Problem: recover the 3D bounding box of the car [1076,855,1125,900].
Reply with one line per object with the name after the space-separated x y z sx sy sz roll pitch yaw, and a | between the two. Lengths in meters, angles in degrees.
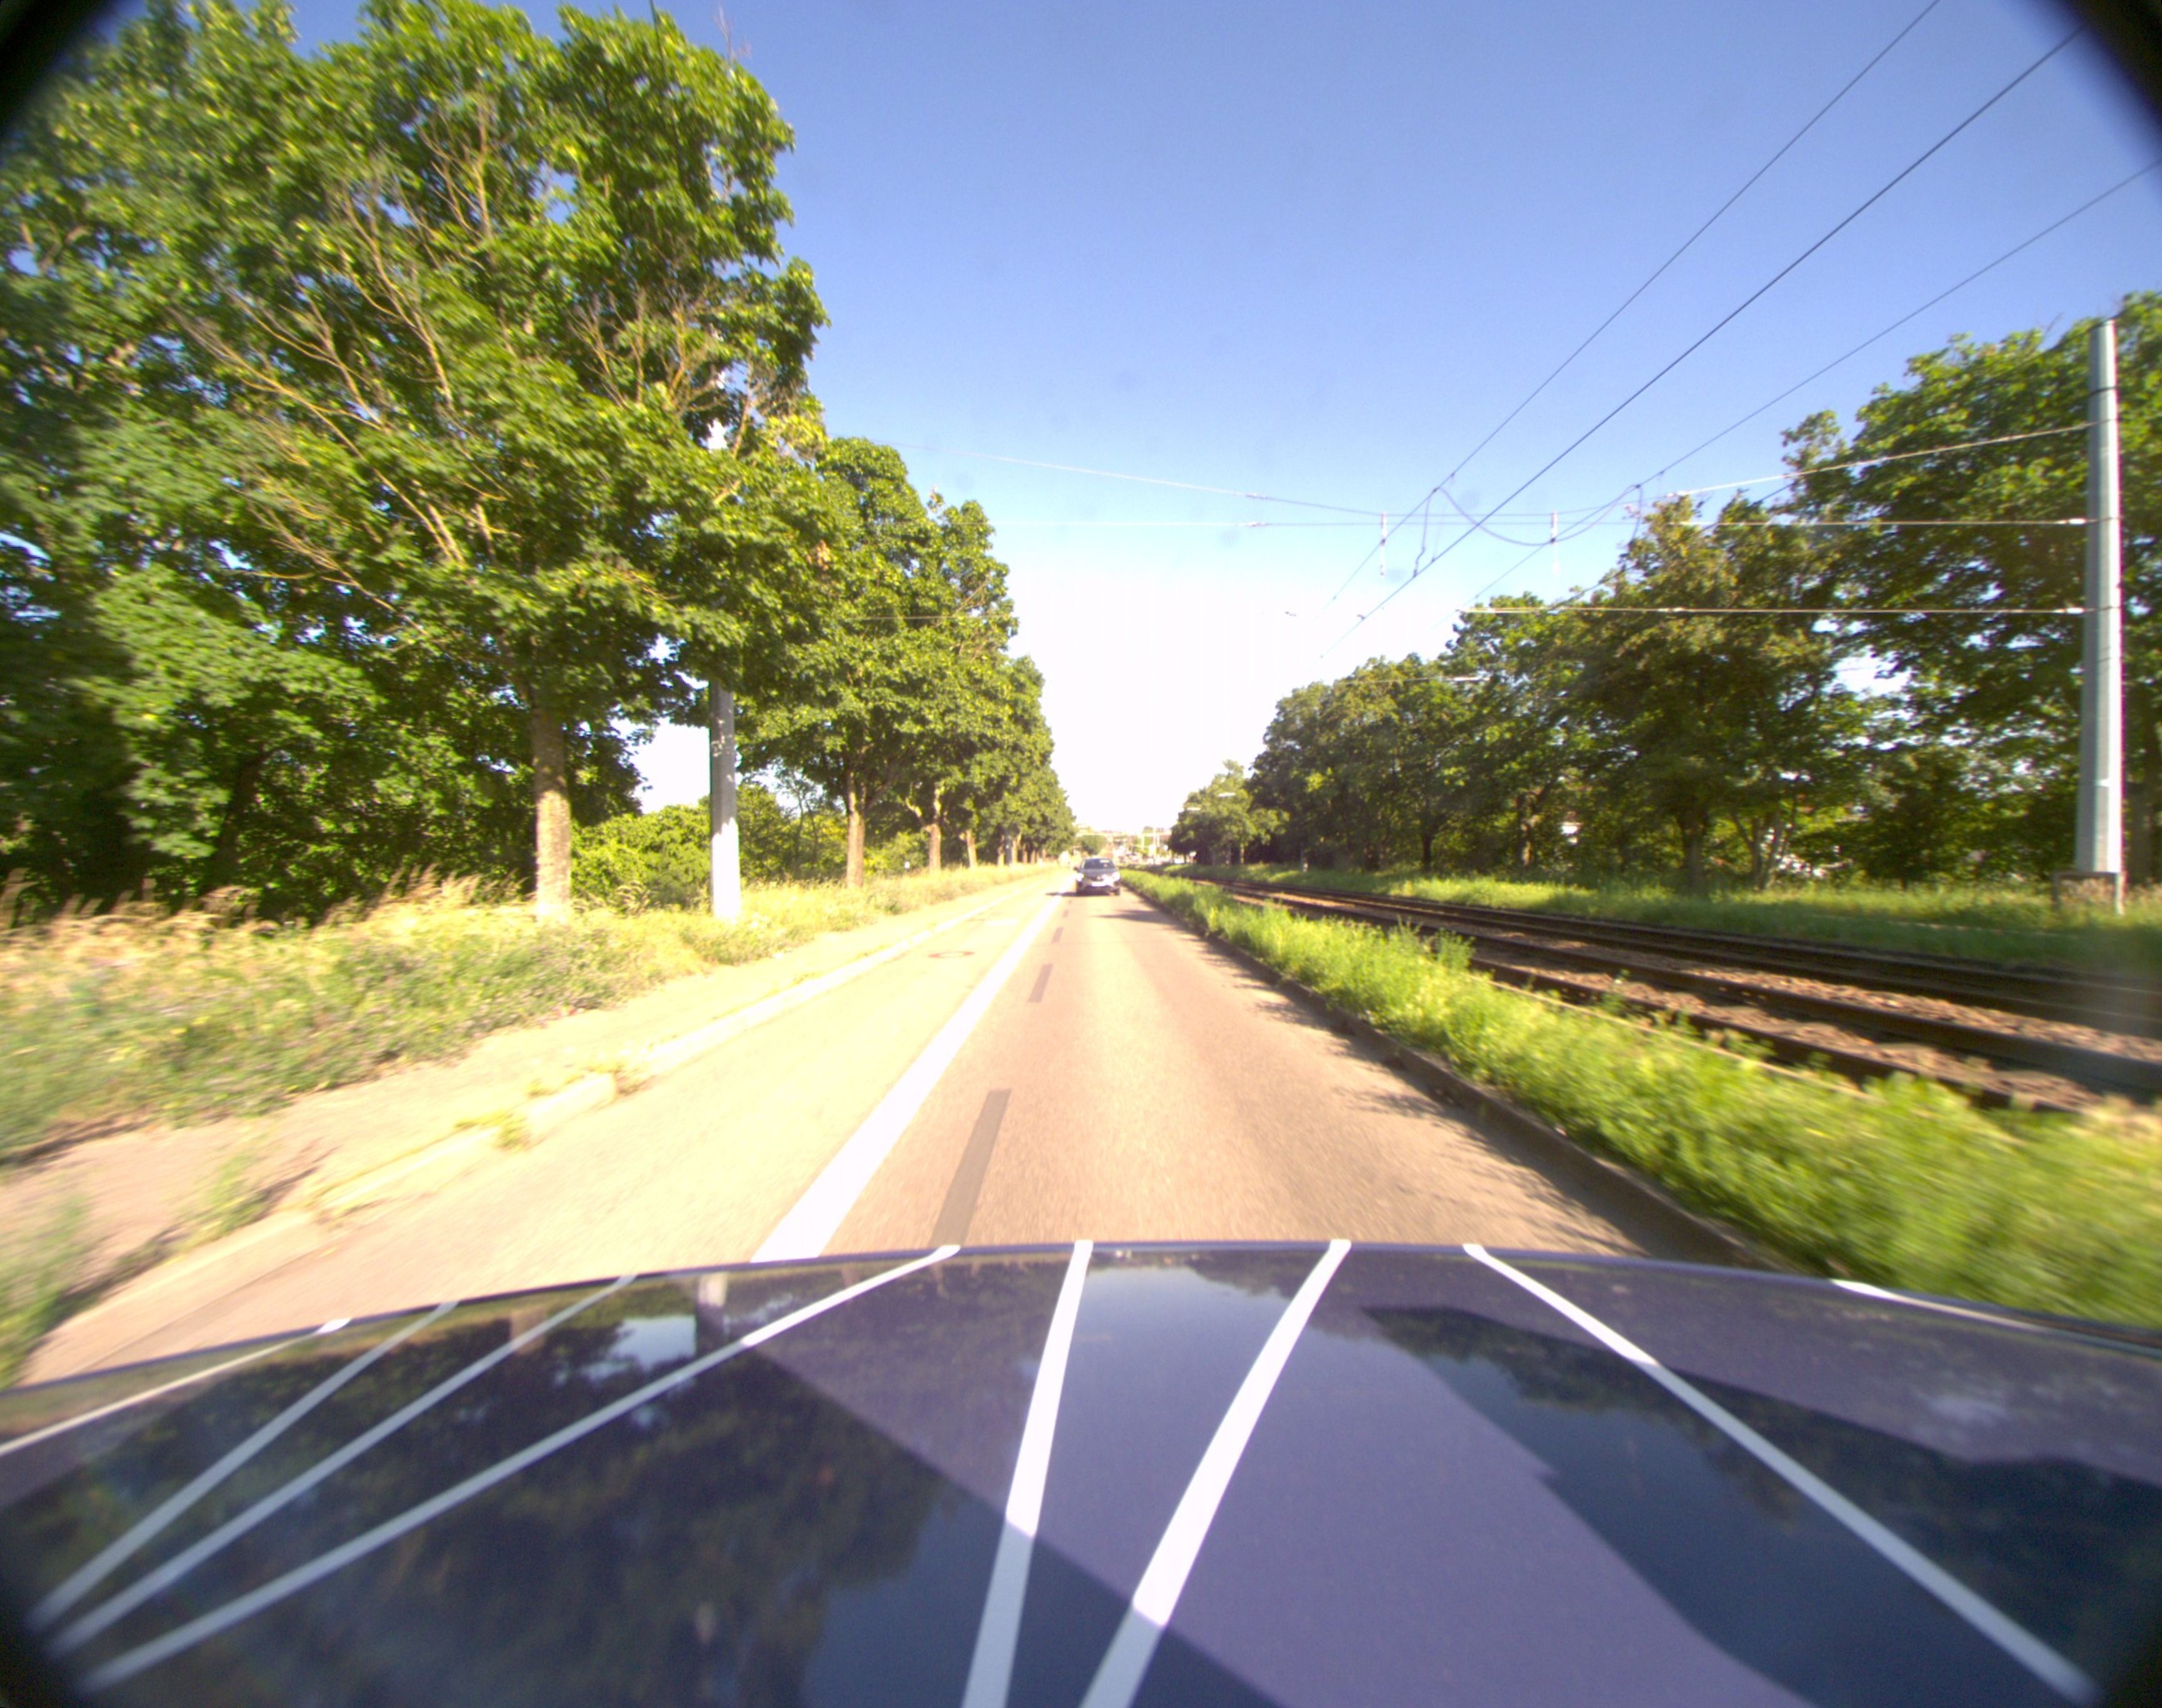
0.767 0.873 30.930 1.814 1.625 4.709 -1 1 1 | car
